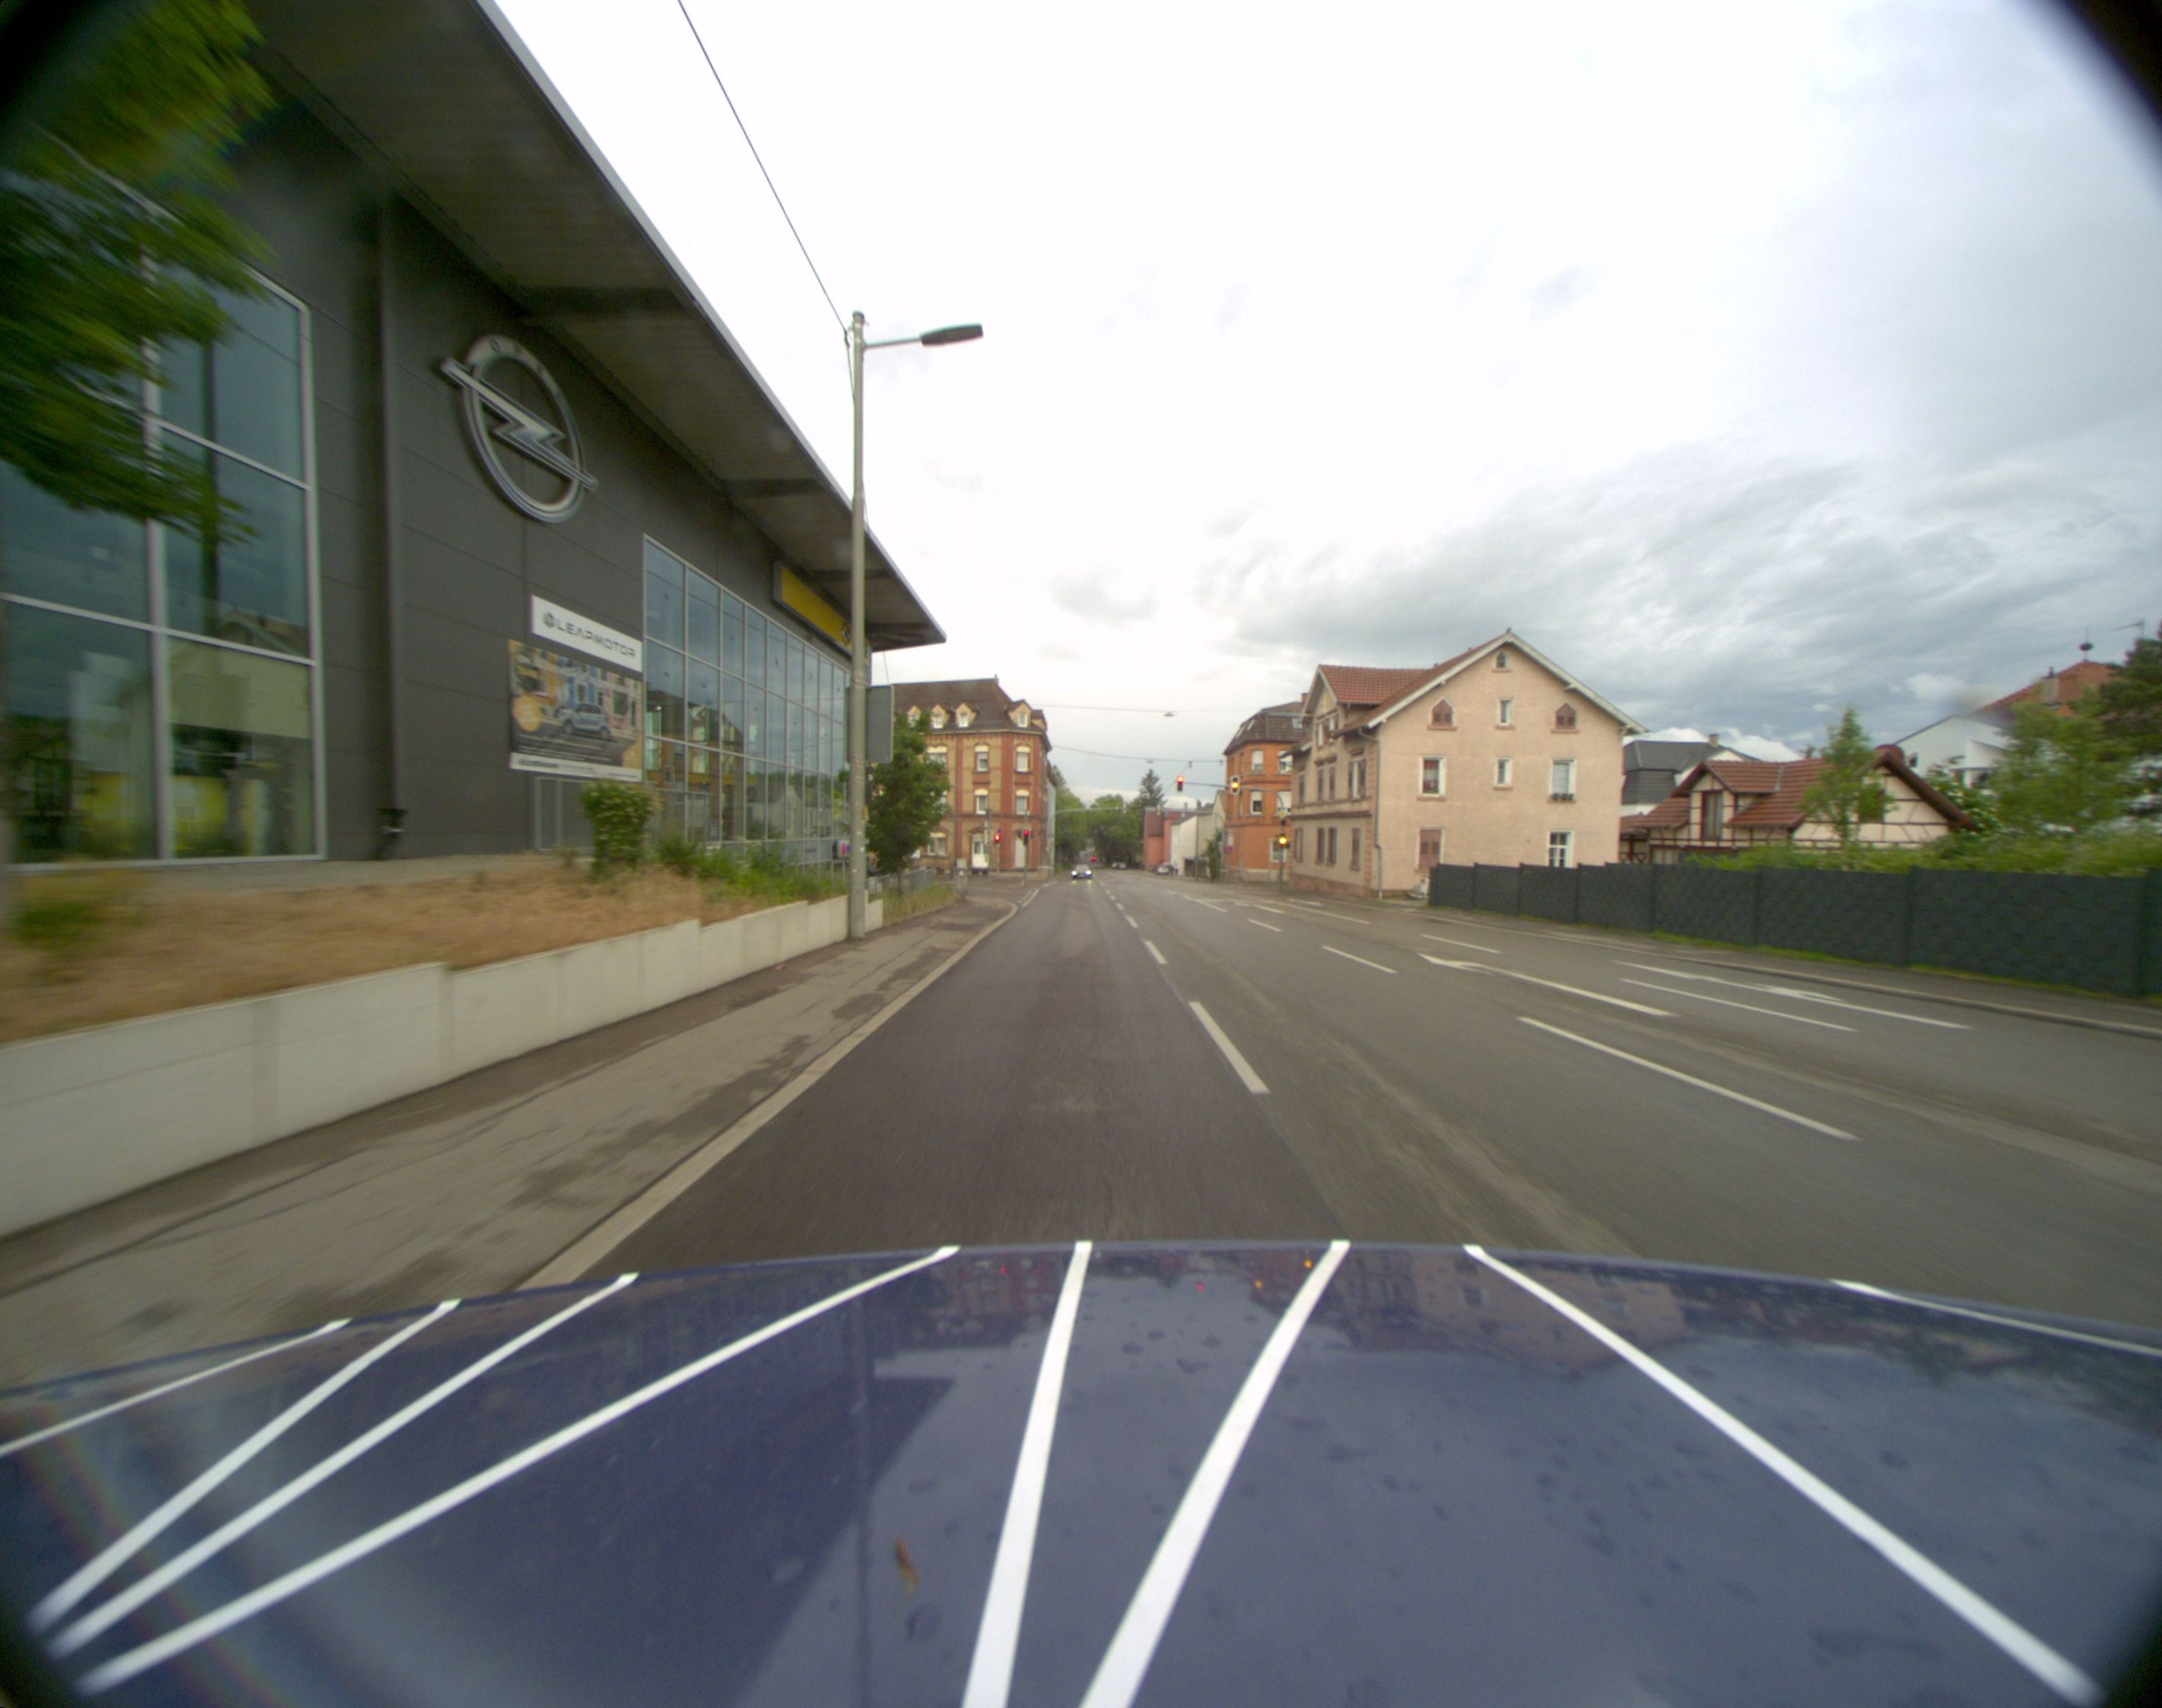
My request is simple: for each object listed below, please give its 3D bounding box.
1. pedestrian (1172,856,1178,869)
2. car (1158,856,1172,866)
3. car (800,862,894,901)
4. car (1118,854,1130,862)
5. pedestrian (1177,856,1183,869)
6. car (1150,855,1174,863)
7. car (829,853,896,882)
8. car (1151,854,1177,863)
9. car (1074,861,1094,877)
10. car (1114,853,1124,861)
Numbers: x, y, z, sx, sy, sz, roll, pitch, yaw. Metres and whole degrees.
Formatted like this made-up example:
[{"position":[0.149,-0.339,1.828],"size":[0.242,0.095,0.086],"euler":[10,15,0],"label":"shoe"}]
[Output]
[{"position":[11.732,1.051,95.192],"size":[0.642,1.696,0.911],"euler":[0,0,1],"label":"pedestrian"},{"position":[12.895,1.100,116.949],"size":[1.749,1.499,4.177],"euler":[1,0,0],"label":"car"},{"position":[-10.979,1.233,35.591],"size":[3.989,1.500,1.901],"euler":[1,4,28],"label":"car"},{"position":[8.401,0.839,148.885],"size":[1.789,1.402,4.197],"euler":[3,0,-2],"label":"car"},{"position":[12.418,1.074,95.179],"size":[0.642,1.696,0.911],"euler":[0,0,1],"label":"pedestrian"},{"position":[14.843,0.935,139.358],"size":[4.171,1.425,2.000],"euler":[-1,0,2],"label":"car"},{"position":[-13.835,0.814,47.981],"size":[4.242,1.653,1.808],"euler":[2,1,35],"label":"car"},{"position":[14.947,0.796,136.862],"size":[4.542,1.599,2.153],"euler":[-1,0,2],"label":"car"},{"position":[0.292,1.397,72.999],"size":[1.842,1.403,4.000],"euler":[1,0,0],"label":"car"},{"position":[7.917,0.669,159.977],"size":[1.816,1.537,4.198],"euler":[4,0,0],"label":"car"}]
